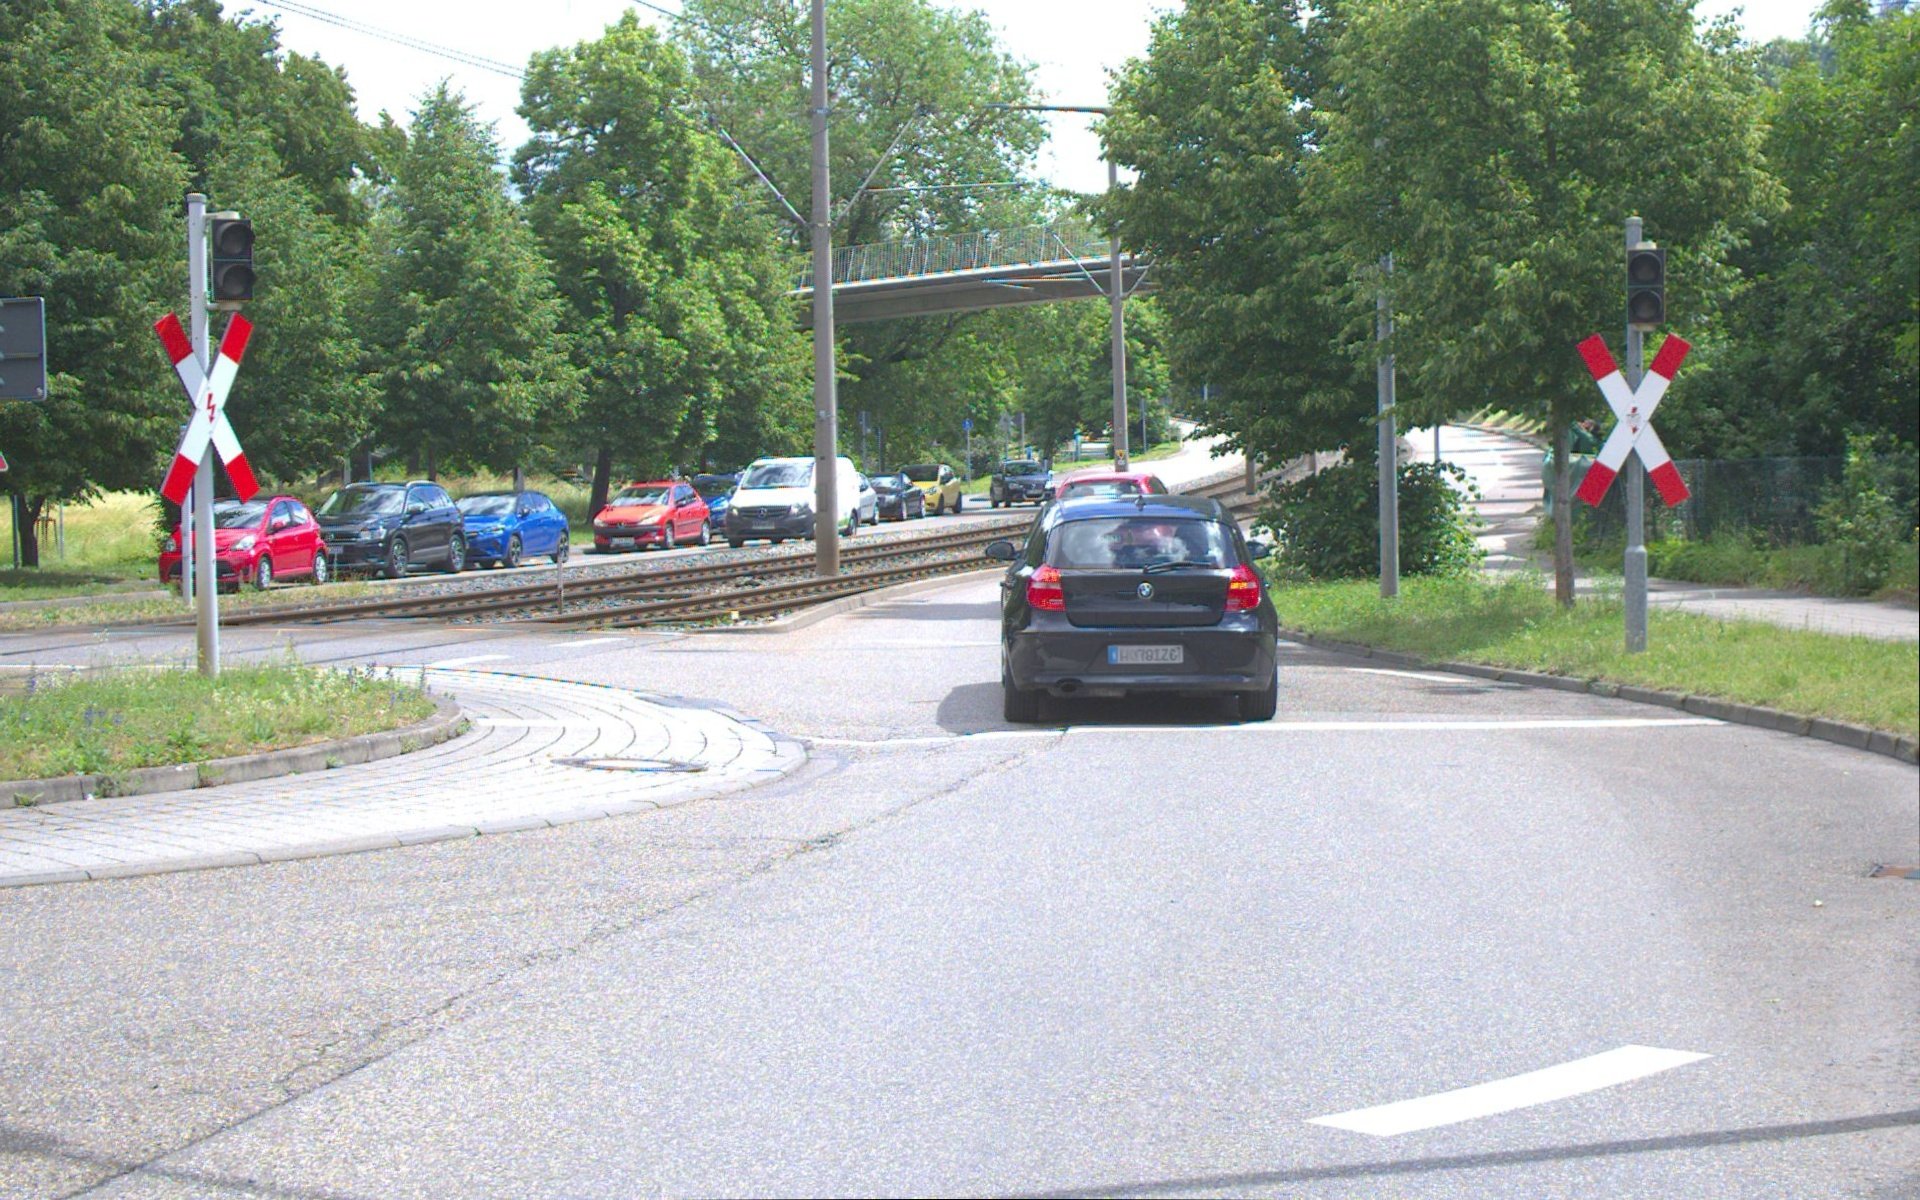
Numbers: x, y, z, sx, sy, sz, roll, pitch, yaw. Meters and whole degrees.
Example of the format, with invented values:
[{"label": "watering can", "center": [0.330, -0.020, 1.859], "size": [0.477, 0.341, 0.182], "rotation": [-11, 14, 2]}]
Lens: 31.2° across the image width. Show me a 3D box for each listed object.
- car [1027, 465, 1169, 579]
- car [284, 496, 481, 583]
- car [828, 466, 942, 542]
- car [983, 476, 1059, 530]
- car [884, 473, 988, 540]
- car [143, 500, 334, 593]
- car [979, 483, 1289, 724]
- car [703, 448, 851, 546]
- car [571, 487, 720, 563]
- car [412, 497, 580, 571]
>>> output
[{"label": "car", "center": [1.827, -1.033, 46.463], "size": [1.765, 1.427, 3.479], "rotation": [-1, 1, 0]}, {"label": "car", "center": [-9.801, -1.051, 58.565], "size": [1.881, 1.420, 3.528], "rotation": [-1, 2, 18]}, {"label": "car", "center": [-2.045, -2.681, 95.259], "size": [1.995, 2.006, 3.997], "rotation": [0, 2, 17]}, {"label": "car", "center": [1.969, -3.105, 110.075], "size": [1.692, 1.675, 3.998], "rotation": [-1, 2, 12]}, {"label": "car", "center": [-0.668, -2.729, 100.166], "size": [1.995, 1.856, 3.998], "rotation": [0, 2, 15]}, {"label": "car", "center": [-11.149, -0.854, 53.350], "size": [1.529, 1.366, 3.595], "rotation": [-1, 2, 12]}, {"label": "car", "center": [1.064, 0.020, 22.796], "size": [1.815, 1.416, 4.000], "rotation": [-1, 0, 0]}, {"label": "car", "center": [-3.864, -2.198, 73.094], "size": [1.995, 2.006, 3.998], "rotation": [-1, 2, 15]}, {"label": "car", "center": [-6.718, -1.623, 73.851], "size": [1.914, 1.555, 3.998], "rotation": [-1, 2, 15]}, {"label": "car", "center": [-8.571, -1.238, 63.769], "size": [1.807, 1.249, 3.566], "rotation": [0, 3, 15]}]
